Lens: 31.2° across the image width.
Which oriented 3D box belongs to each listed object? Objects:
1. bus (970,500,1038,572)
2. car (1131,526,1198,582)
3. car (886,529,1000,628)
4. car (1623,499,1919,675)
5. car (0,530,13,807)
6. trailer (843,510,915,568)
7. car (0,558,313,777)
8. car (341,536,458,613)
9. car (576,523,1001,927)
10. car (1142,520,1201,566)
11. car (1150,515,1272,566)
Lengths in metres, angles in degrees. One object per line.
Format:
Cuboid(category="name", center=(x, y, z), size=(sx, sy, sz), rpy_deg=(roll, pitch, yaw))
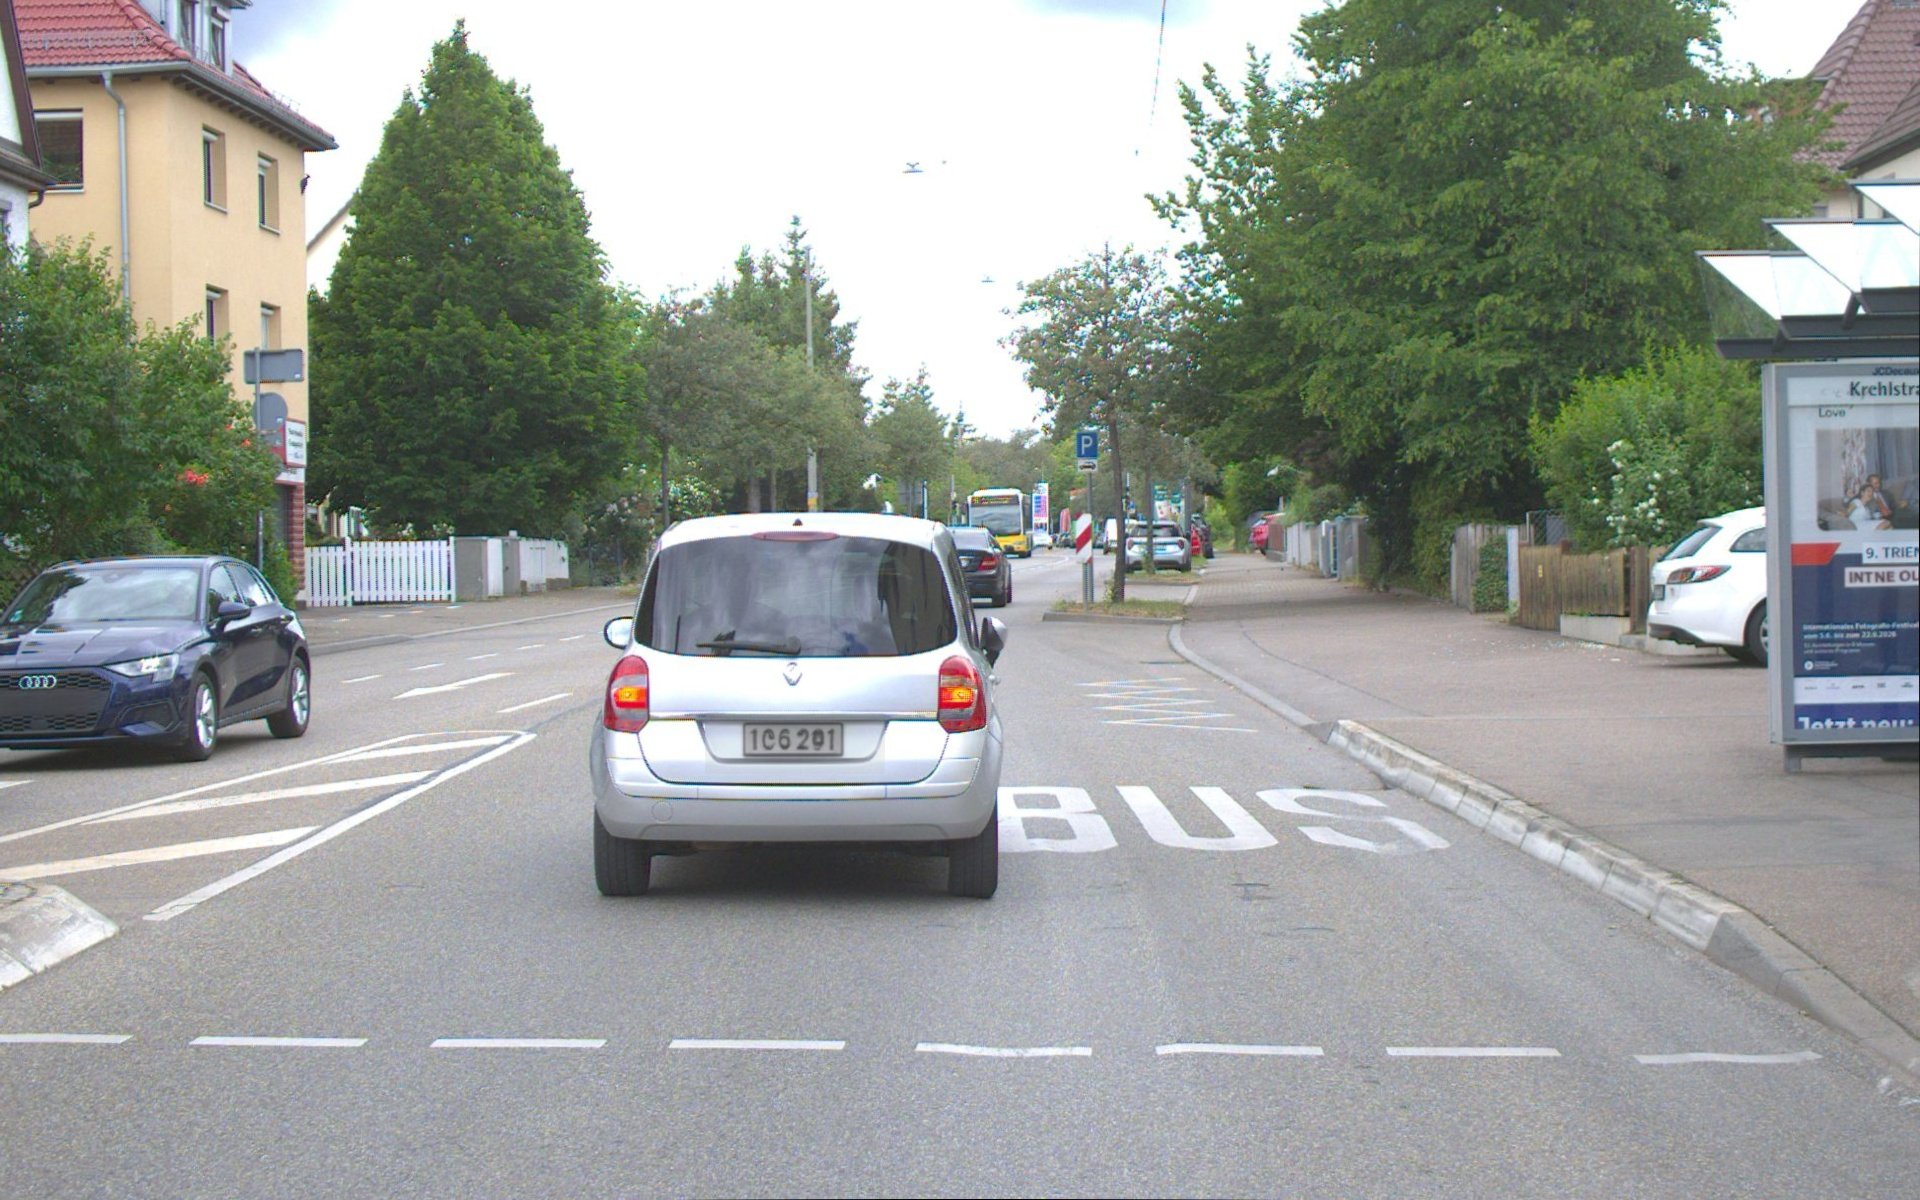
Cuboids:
Cuboid(category="bus", center=(2.075, -2.933, 157.343), size=(2.632, 3.075, 12.069), rpy_deg=(-2, 1, 3))
Cuboid(category="car", center=(5.320, -1.174, 88.992), size=(1.650, 1.378, 3.999), rpy_deg=(0, 0, 5))
Cuboid(category="car", center=(-0.325, -0.390, 60.473), size=(1.829, 1.670, 3.575), rpy_deg=(-1, 1, -3))
Cuboid(category="car", center=(8.563, -0.160, 31.962), size=(4.420, 1.483, 1.865), rpy_deg=(-3, 0, 3))
Cuboid(category="car", center=(-6.493, 0.409, 17.553), size=(1.758, 1.629, 4.594), rpy_deg=(-3, 0, 3))
Cuboid(category="trailer", center=(-3.004, -2.264, 129.432), size=(2.312, 2.079, 5.872), rpy_deg=(0, 0, 2))
Cuboid(category="car", center=(-5.916, 0.445, 24.695), size=(1.564, 1.415, 4.130), rpy_deg=(-1, 0, 3))
Cuboid(category="car", center=(-12.729, -0.608, 78.306), size=(1.806, 1.559, 4.619), rpy_deg=(-3, 1, 0))
Cuboid(category="car", center=(-0.743, 0.478, 15.306), size=(1.630, 1.551, 4.000), rpy_deg=(0, 0, -2))
Cuboid(category="car", center=(6.660, -1.796, 108.167), size=(1.663, 1.388, 3.667), rpy_deg=(-1, 1, 6))
Cuboid(category="car", center=(8.831, -2.087, 121.220), size=(3.986, 1.491, 1.810), rpy_deg=(-4, 1, -4))
